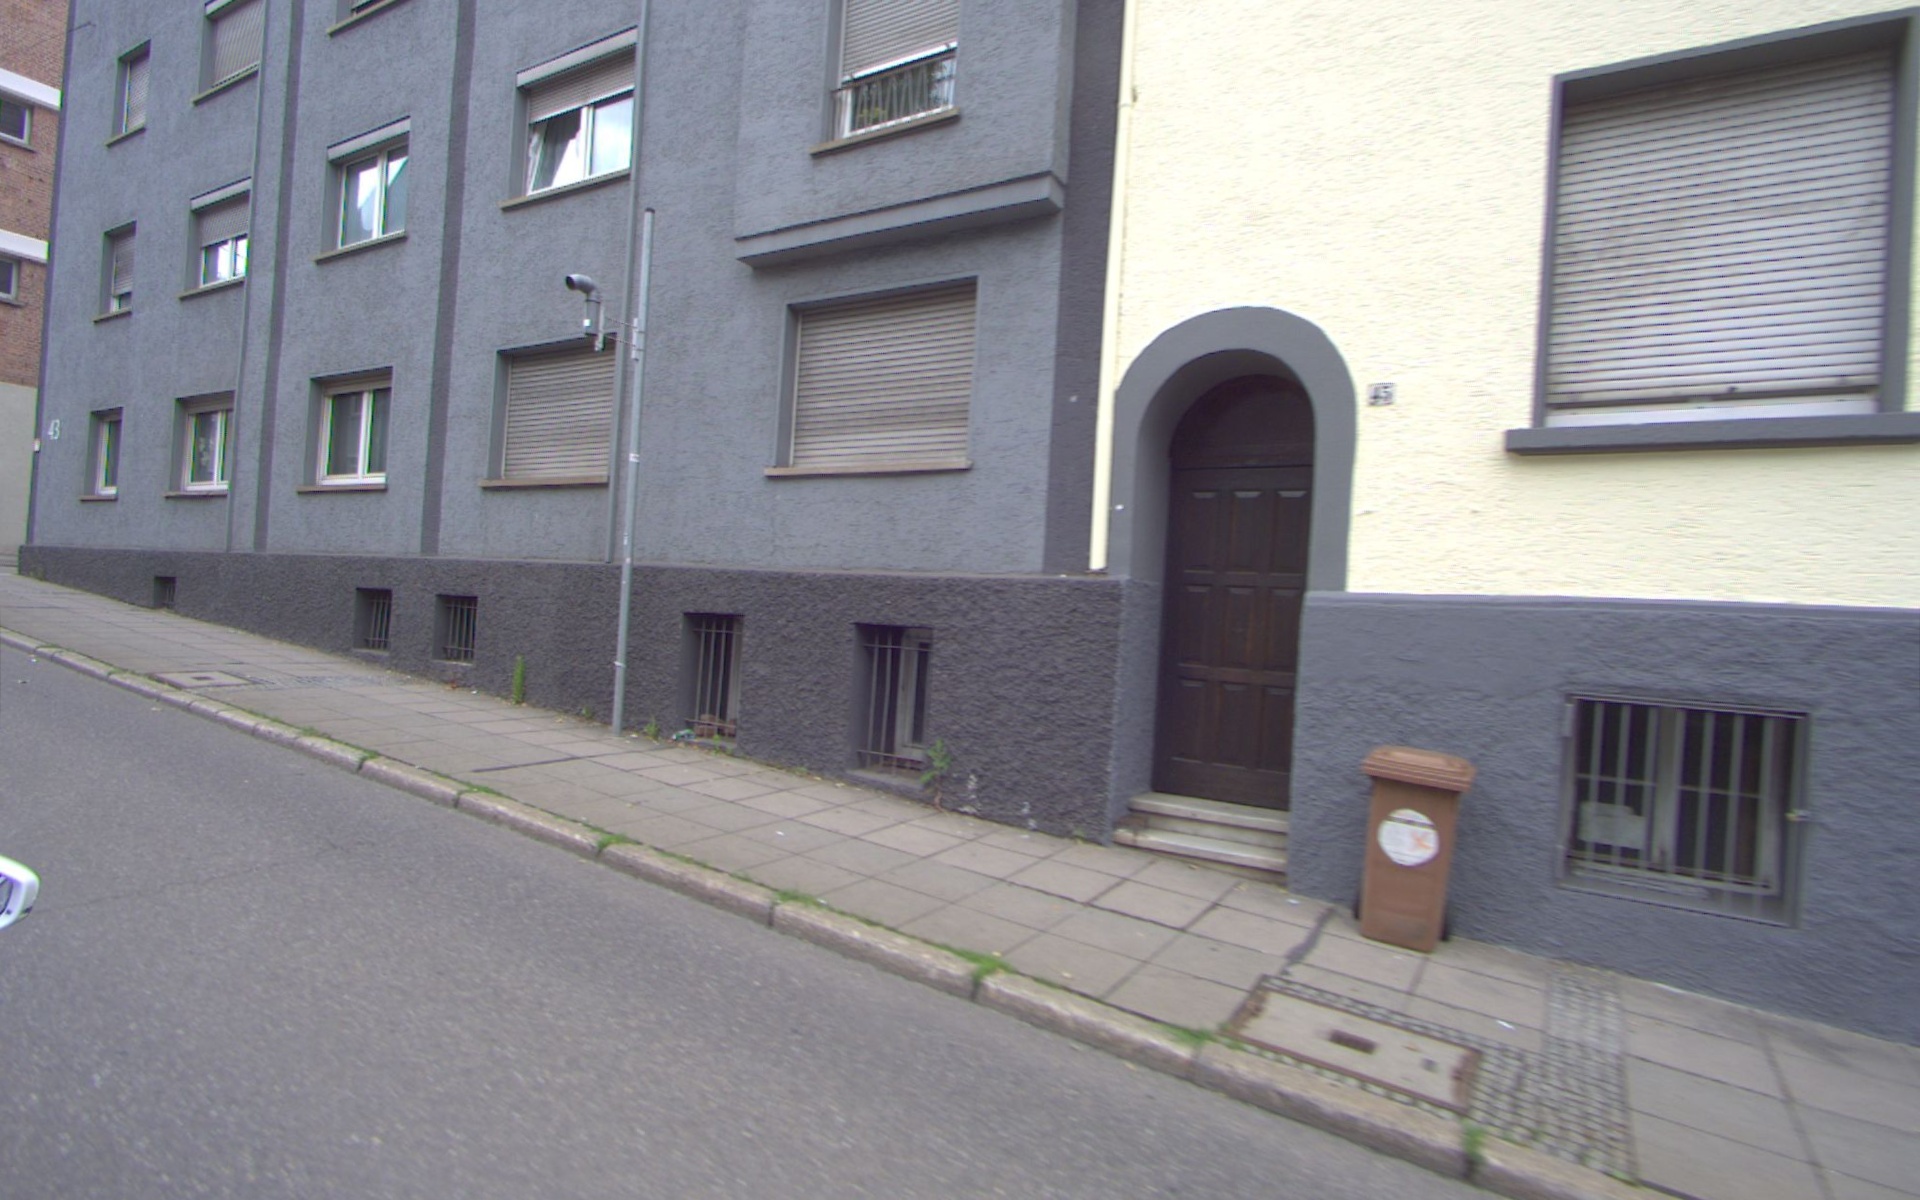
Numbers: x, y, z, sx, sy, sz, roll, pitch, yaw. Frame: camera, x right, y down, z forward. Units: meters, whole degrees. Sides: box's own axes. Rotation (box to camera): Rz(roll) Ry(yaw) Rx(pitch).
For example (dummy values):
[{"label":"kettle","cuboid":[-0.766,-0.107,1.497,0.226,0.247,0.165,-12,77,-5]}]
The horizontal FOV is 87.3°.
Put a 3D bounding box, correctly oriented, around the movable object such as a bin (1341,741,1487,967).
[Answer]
[{"label":"movable object such as a bin","cuboid":[2.213,1.201,4.895,0.508,0.904,0.474,7,4,31]}]
